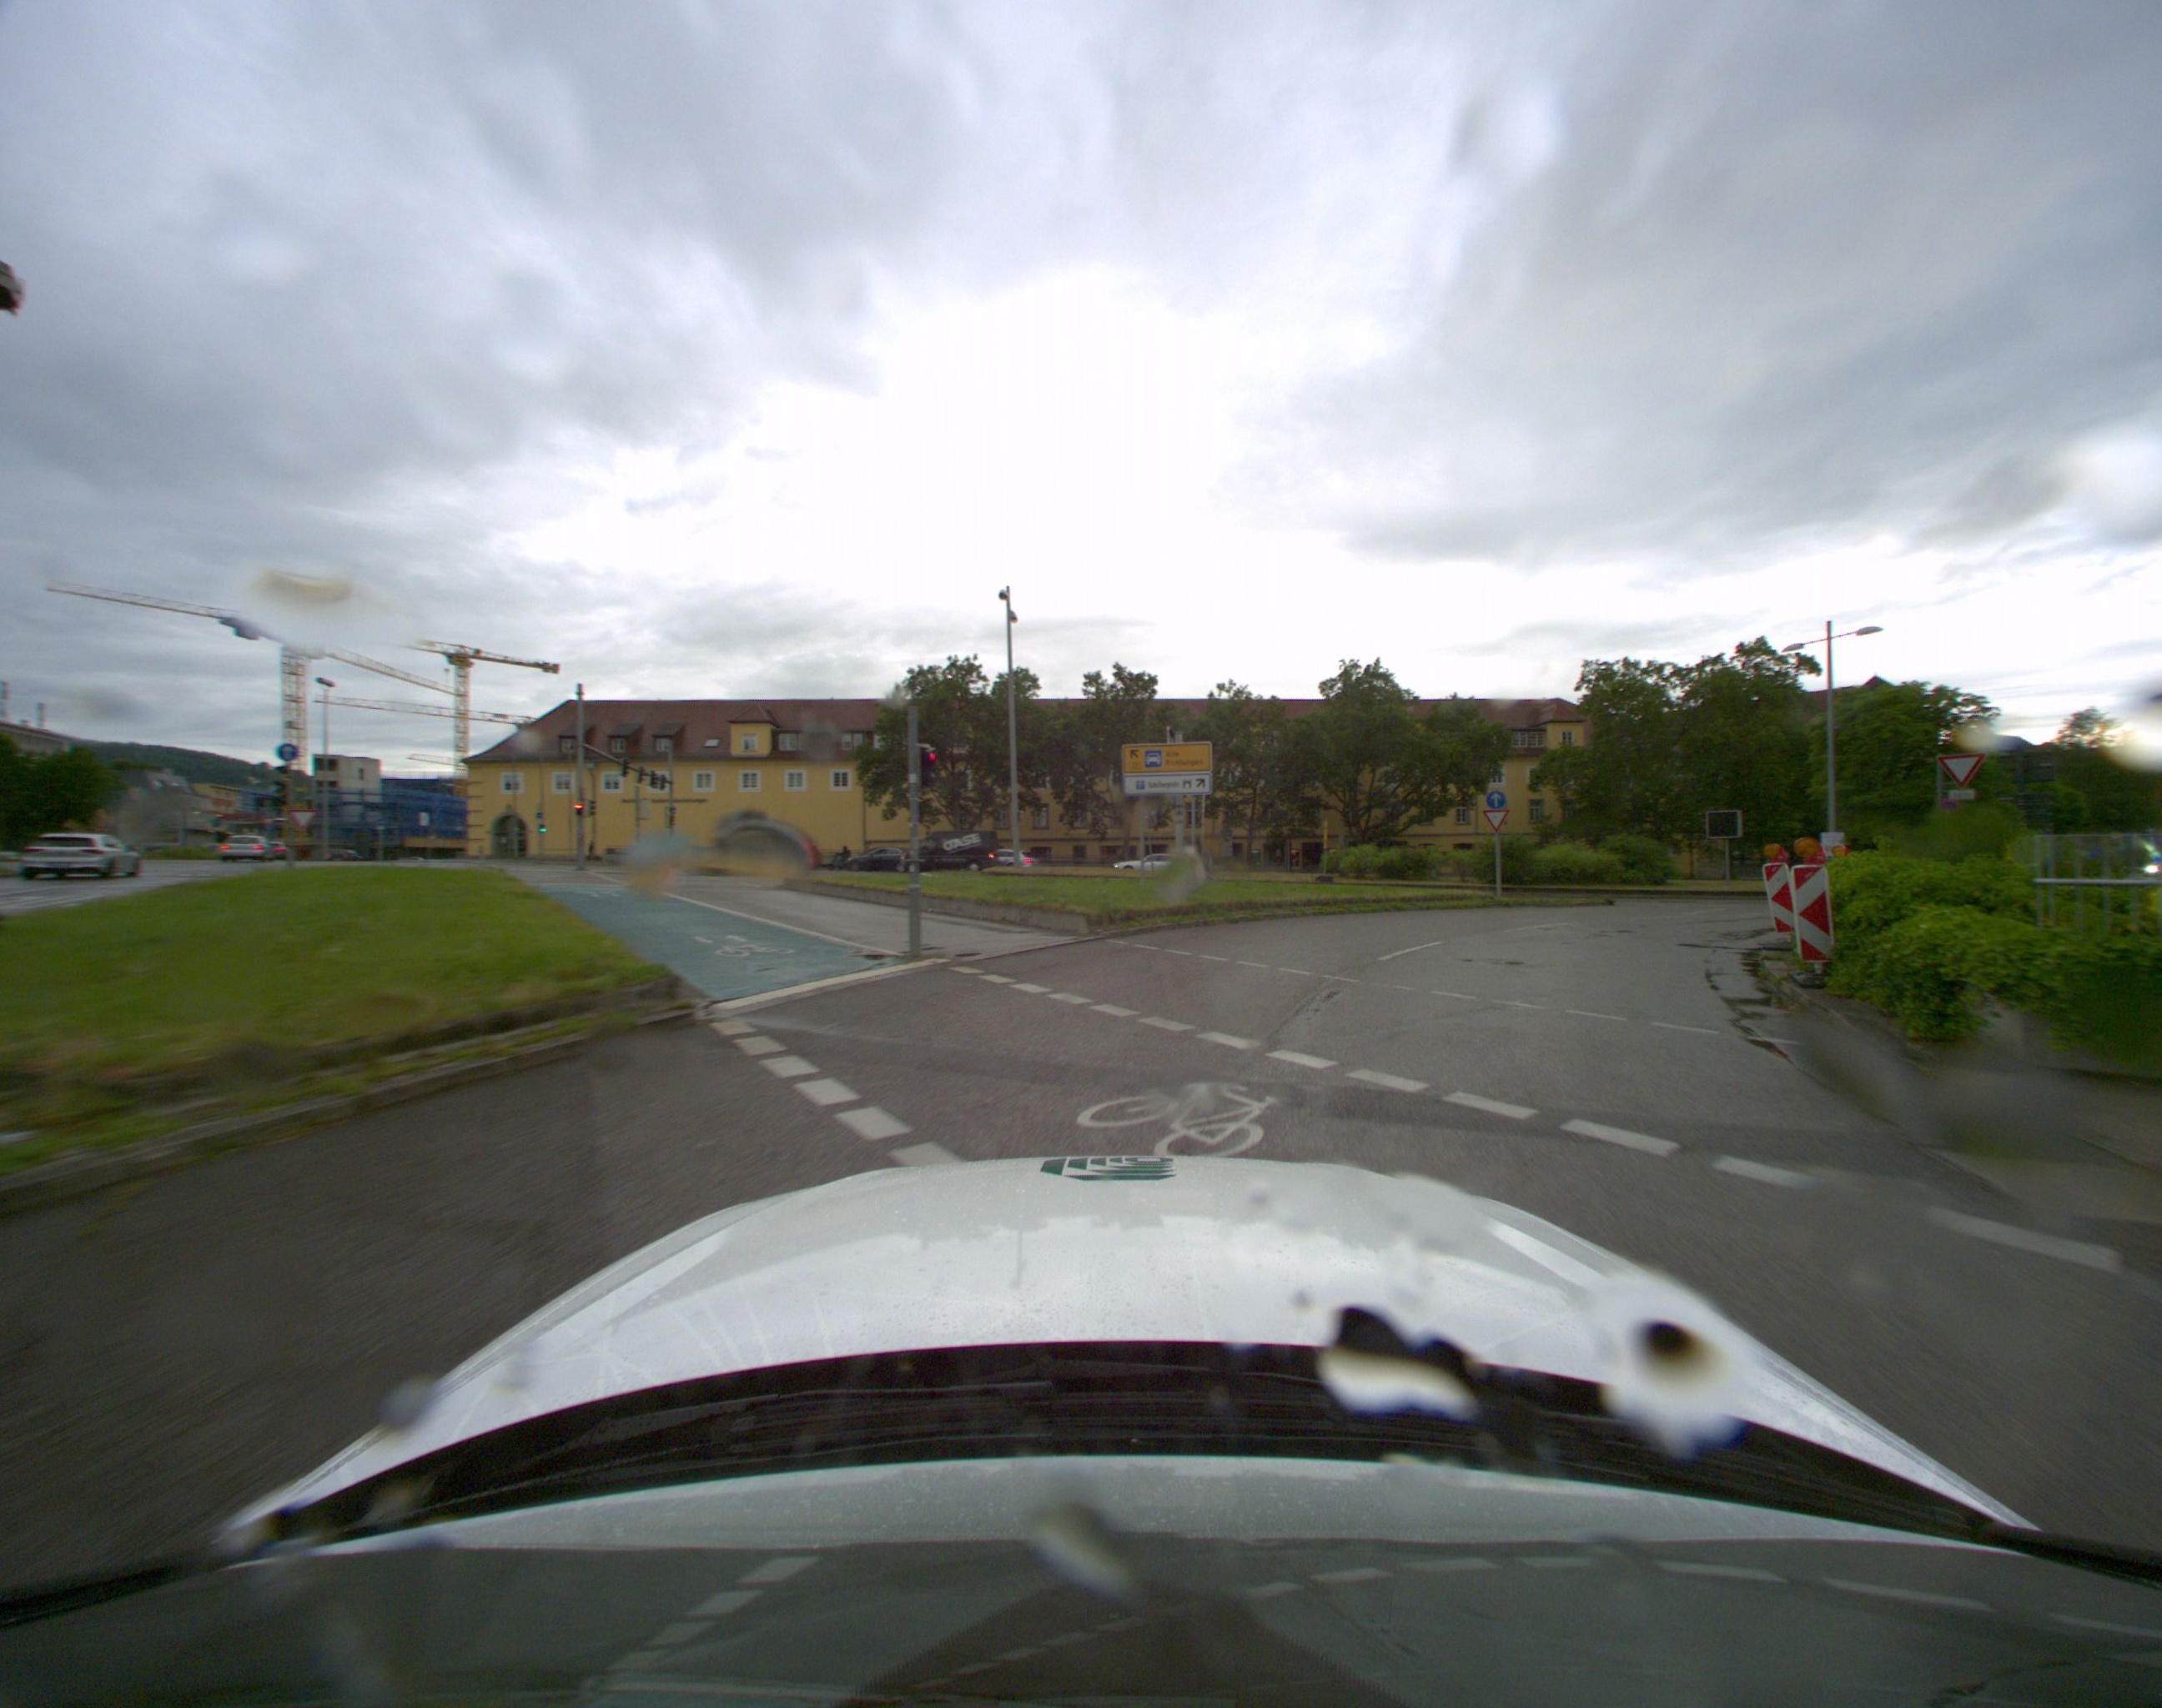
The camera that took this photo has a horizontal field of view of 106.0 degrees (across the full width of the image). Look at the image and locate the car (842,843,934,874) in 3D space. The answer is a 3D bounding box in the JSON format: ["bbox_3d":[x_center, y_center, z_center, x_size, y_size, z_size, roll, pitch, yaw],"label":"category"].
[{"bbox_3d":[-11.242,0.270,47.500,4.775,1.709,2.004,0,-1,8],"label":"car"}]

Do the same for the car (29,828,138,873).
[{"bbox_3d":[-31.690,-0.078,25.955,1.454,1.359,2.388,1,-1,-31],"label":"car"}]

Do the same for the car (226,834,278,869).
[{"bbox_3d":[-45.712,-0.158,44.951,1.681,1.741,3.249,2,1,-41],"label":"car"}]

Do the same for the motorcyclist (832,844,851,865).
[{"bbox_3d":[-14.924,0.043,50.715,1.076,1.273,0.688,1,-1,-14],"label":"motorcyclist"}]

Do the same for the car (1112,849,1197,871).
[{"bbox_3d":[4.647,0.392,51.854,5.272,1.361,1.556,0,-1,-2],"label":"car"}]

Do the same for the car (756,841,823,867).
[{"bbox_3d":[-16.995,0.021,47.575,3.400,1.472,1.647,1,-1,-11],"label":"car"}]

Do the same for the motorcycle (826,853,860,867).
[{"bbox_3d":[-14.843,0.355,50.786,1.965,0.852,0.543,1,-1,-13],"label":"motorcycle"}]

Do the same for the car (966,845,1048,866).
[{"bbox_3d":[-4.224,0.103,46.501,4.329,1.140,1.549,0,-1,18],"label":"car"}]

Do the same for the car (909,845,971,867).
[{"bbox_3d":[-8.806,0.147,50.995,3.582,1.336,1.578,0,-1,1],"label":"car"}]

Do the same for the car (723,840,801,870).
[{"bbox_3d":[-16.418,0.086,42.021,3.400,1.482,1.829,1,-1,-9],"label":"car"}]

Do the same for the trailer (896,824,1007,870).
[{"bbox_3d":[-6.933,-0.338,43.897,5.430,2.257,2.004,-2,-2,6],"label":"trailer"}]

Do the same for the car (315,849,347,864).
[{"bbox_3d":[-69.118,0.242,75.103,1.727,1.365,3.035,1,-1,-35],"label":"car"}]
